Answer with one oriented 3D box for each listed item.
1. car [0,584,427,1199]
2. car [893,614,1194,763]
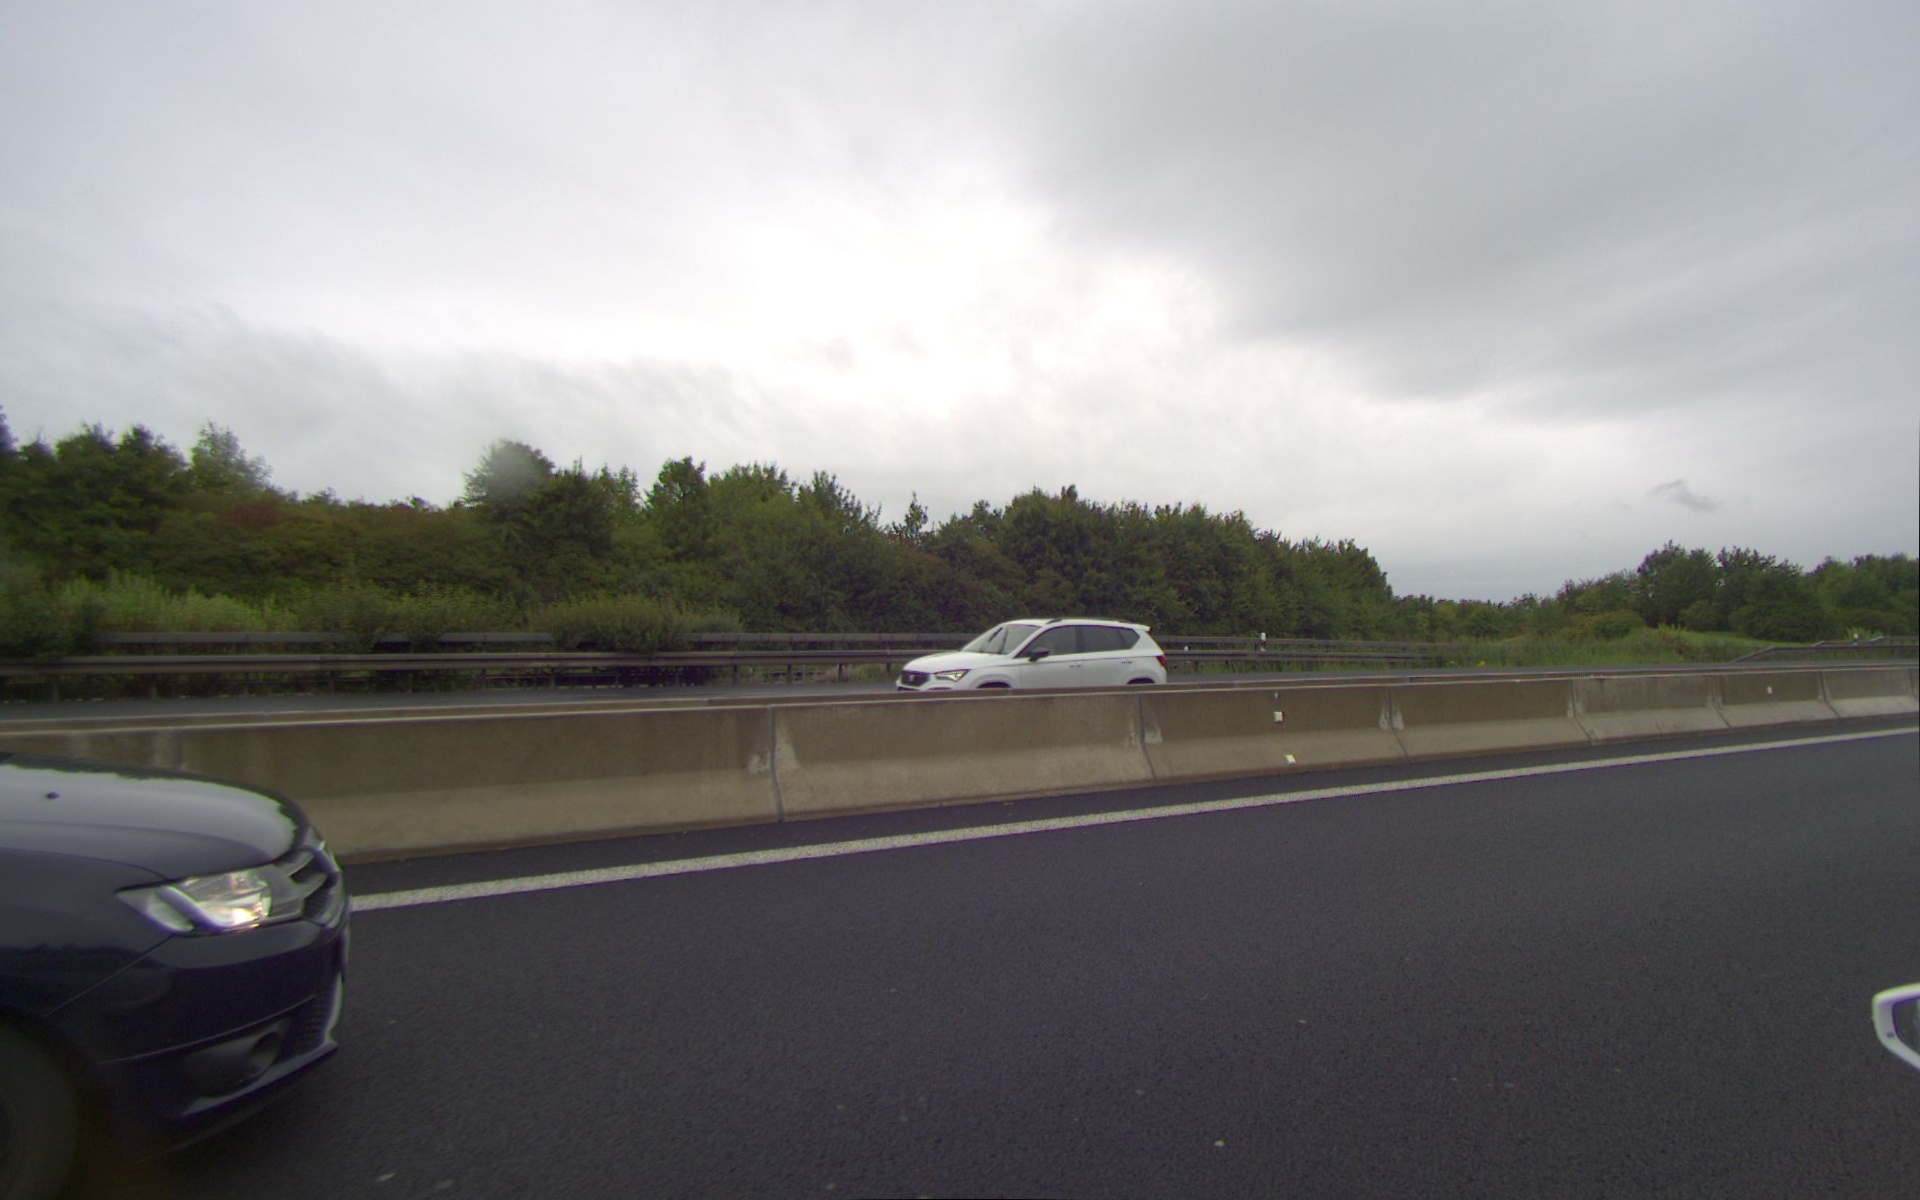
[{"bbox_3d":[-3.735,0.713,2.151,4.514,1.509,1.713,1,-2,-31],"label":"car"},{"bbox_3d":[1.297,1.243,14.982,4.266,1.944,1.729,2,-2,-30],"label":"car"}]
